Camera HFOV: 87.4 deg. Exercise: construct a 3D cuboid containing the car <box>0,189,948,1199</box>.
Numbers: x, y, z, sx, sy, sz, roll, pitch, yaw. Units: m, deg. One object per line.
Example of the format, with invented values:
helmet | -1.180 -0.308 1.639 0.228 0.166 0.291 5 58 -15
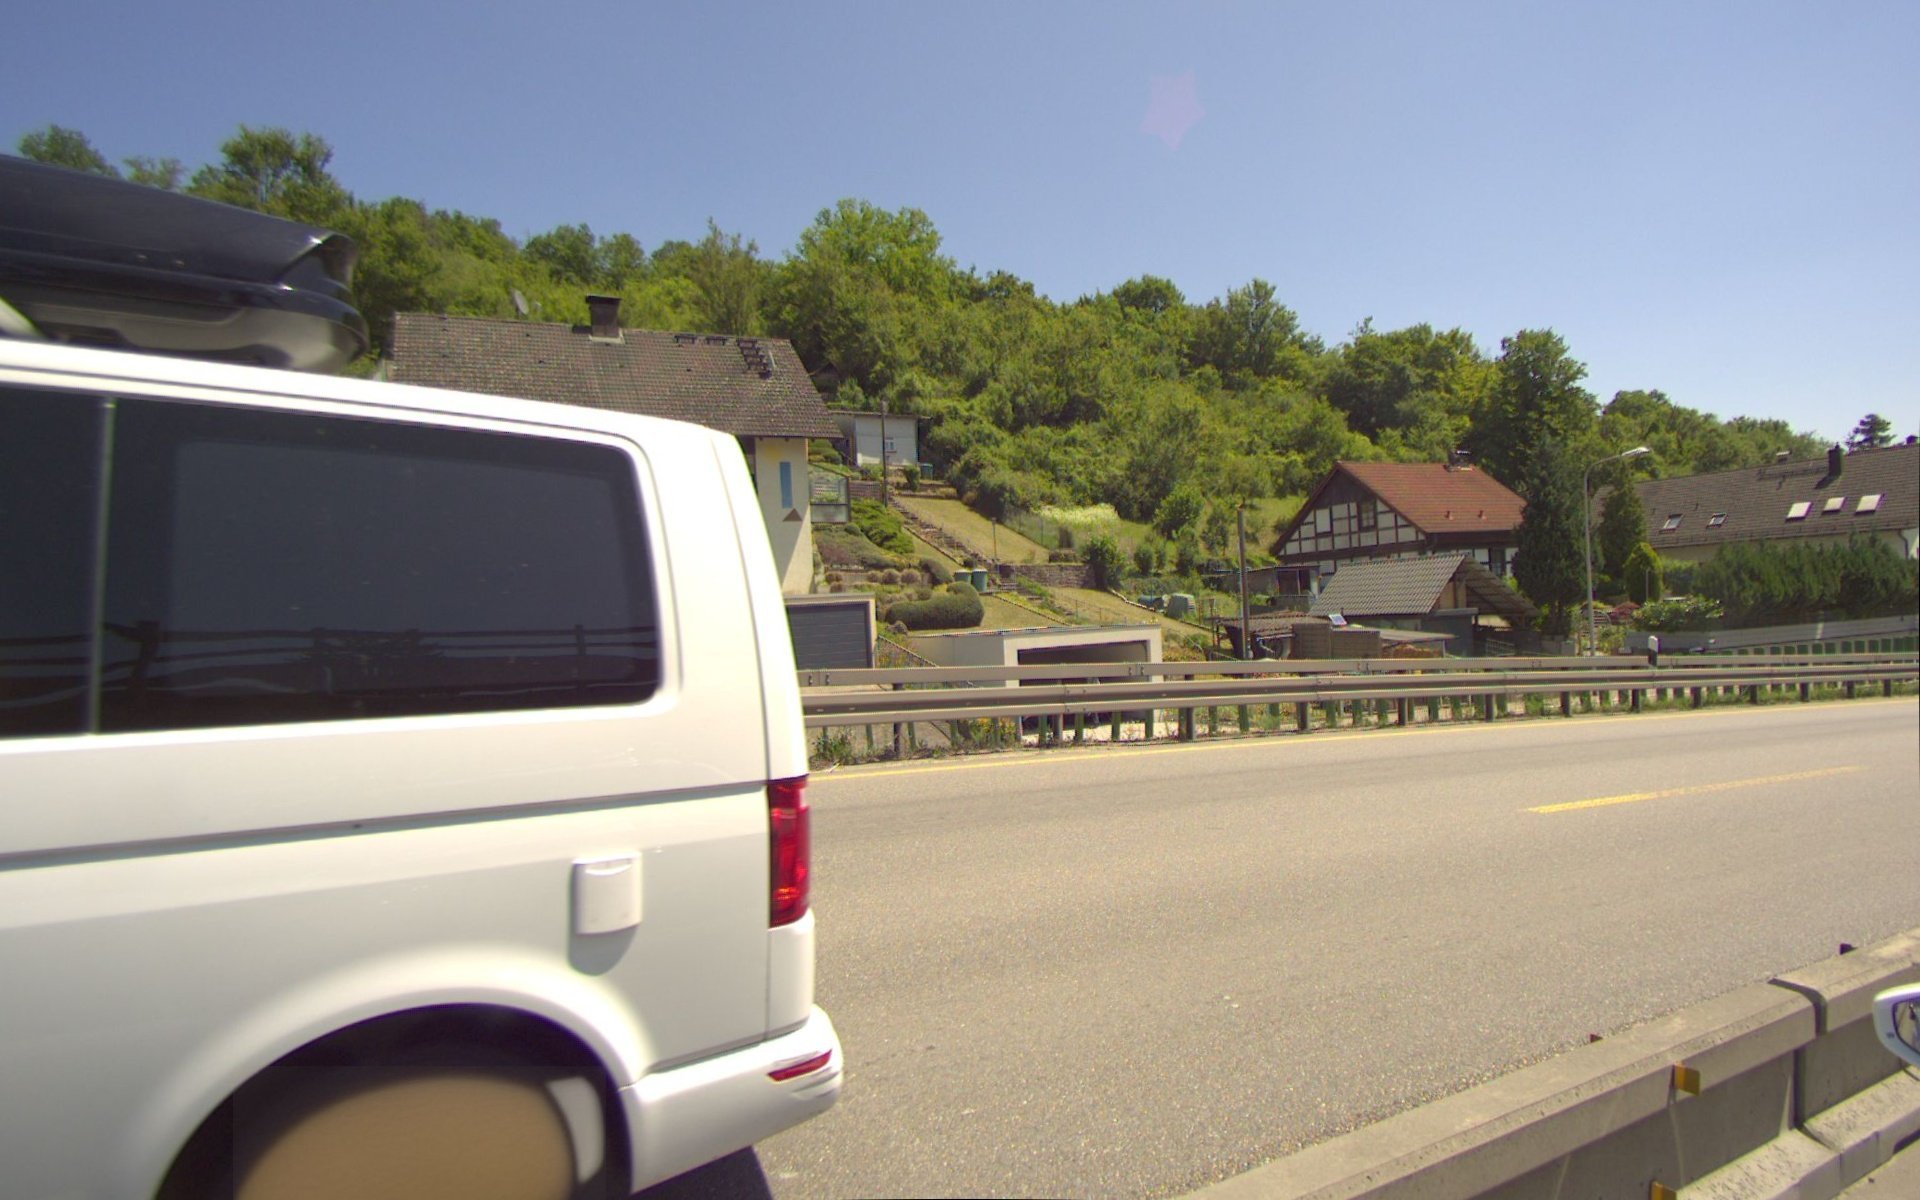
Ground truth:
car | -2.637 0.363 1.862 4.843 1.986 2.012 3 -1 -31
